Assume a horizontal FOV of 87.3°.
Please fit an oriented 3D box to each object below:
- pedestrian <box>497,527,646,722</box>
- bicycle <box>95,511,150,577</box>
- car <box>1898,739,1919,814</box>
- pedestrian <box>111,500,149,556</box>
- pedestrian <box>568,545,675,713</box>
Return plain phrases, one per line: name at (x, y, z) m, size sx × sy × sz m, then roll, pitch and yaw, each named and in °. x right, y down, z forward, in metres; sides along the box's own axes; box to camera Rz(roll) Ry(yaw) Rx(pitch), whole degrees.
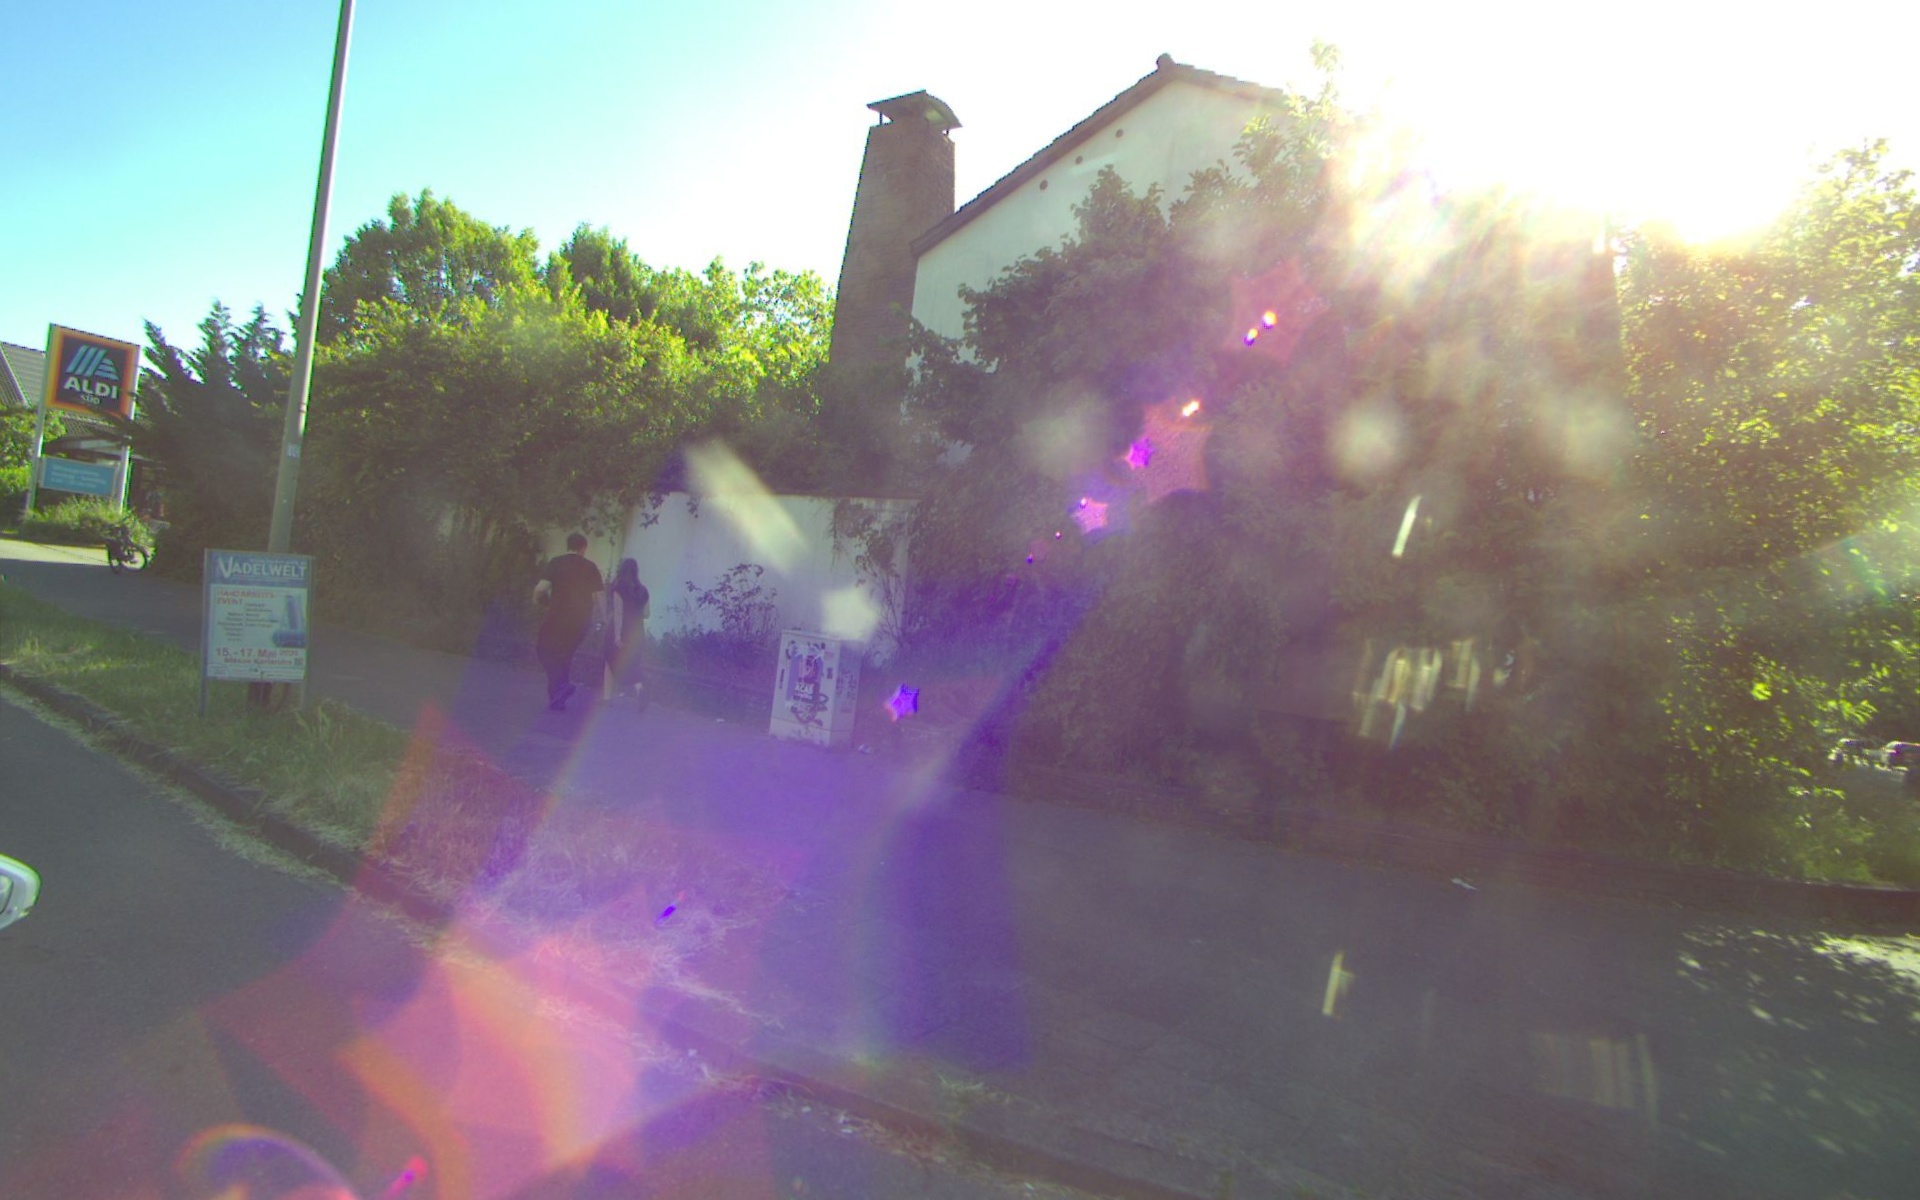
pedestrian at (-3.735, 0.231, 9.696) m, size 0.968 × 1.738 × 0.804 m, roll 5°, pitch 1°, yaw 33°
bicycle at (-17.287, -1.159, 20.803) m, size 0.716 × 1.236 × 1.877 m, roll 5°, pitch 0°, yaw -37°
car at (23.736, 4.304, 23.689) m, size 1.846 × 1.670 × 3.987 m, roll 7°, pitch -1°, yaw 37°
pedestrian at (-26.312, -2.276, 31.886) m, size 0.687 × 1.651 × 0.770 m, roll 7°, pitch 0°, yaw -33°
pedestrian at (-3.496, 0.291, 10.399) m, size 0.780 × 1.629 × 0.573 m, roll 5°, pitch 1°, yaw 33°
